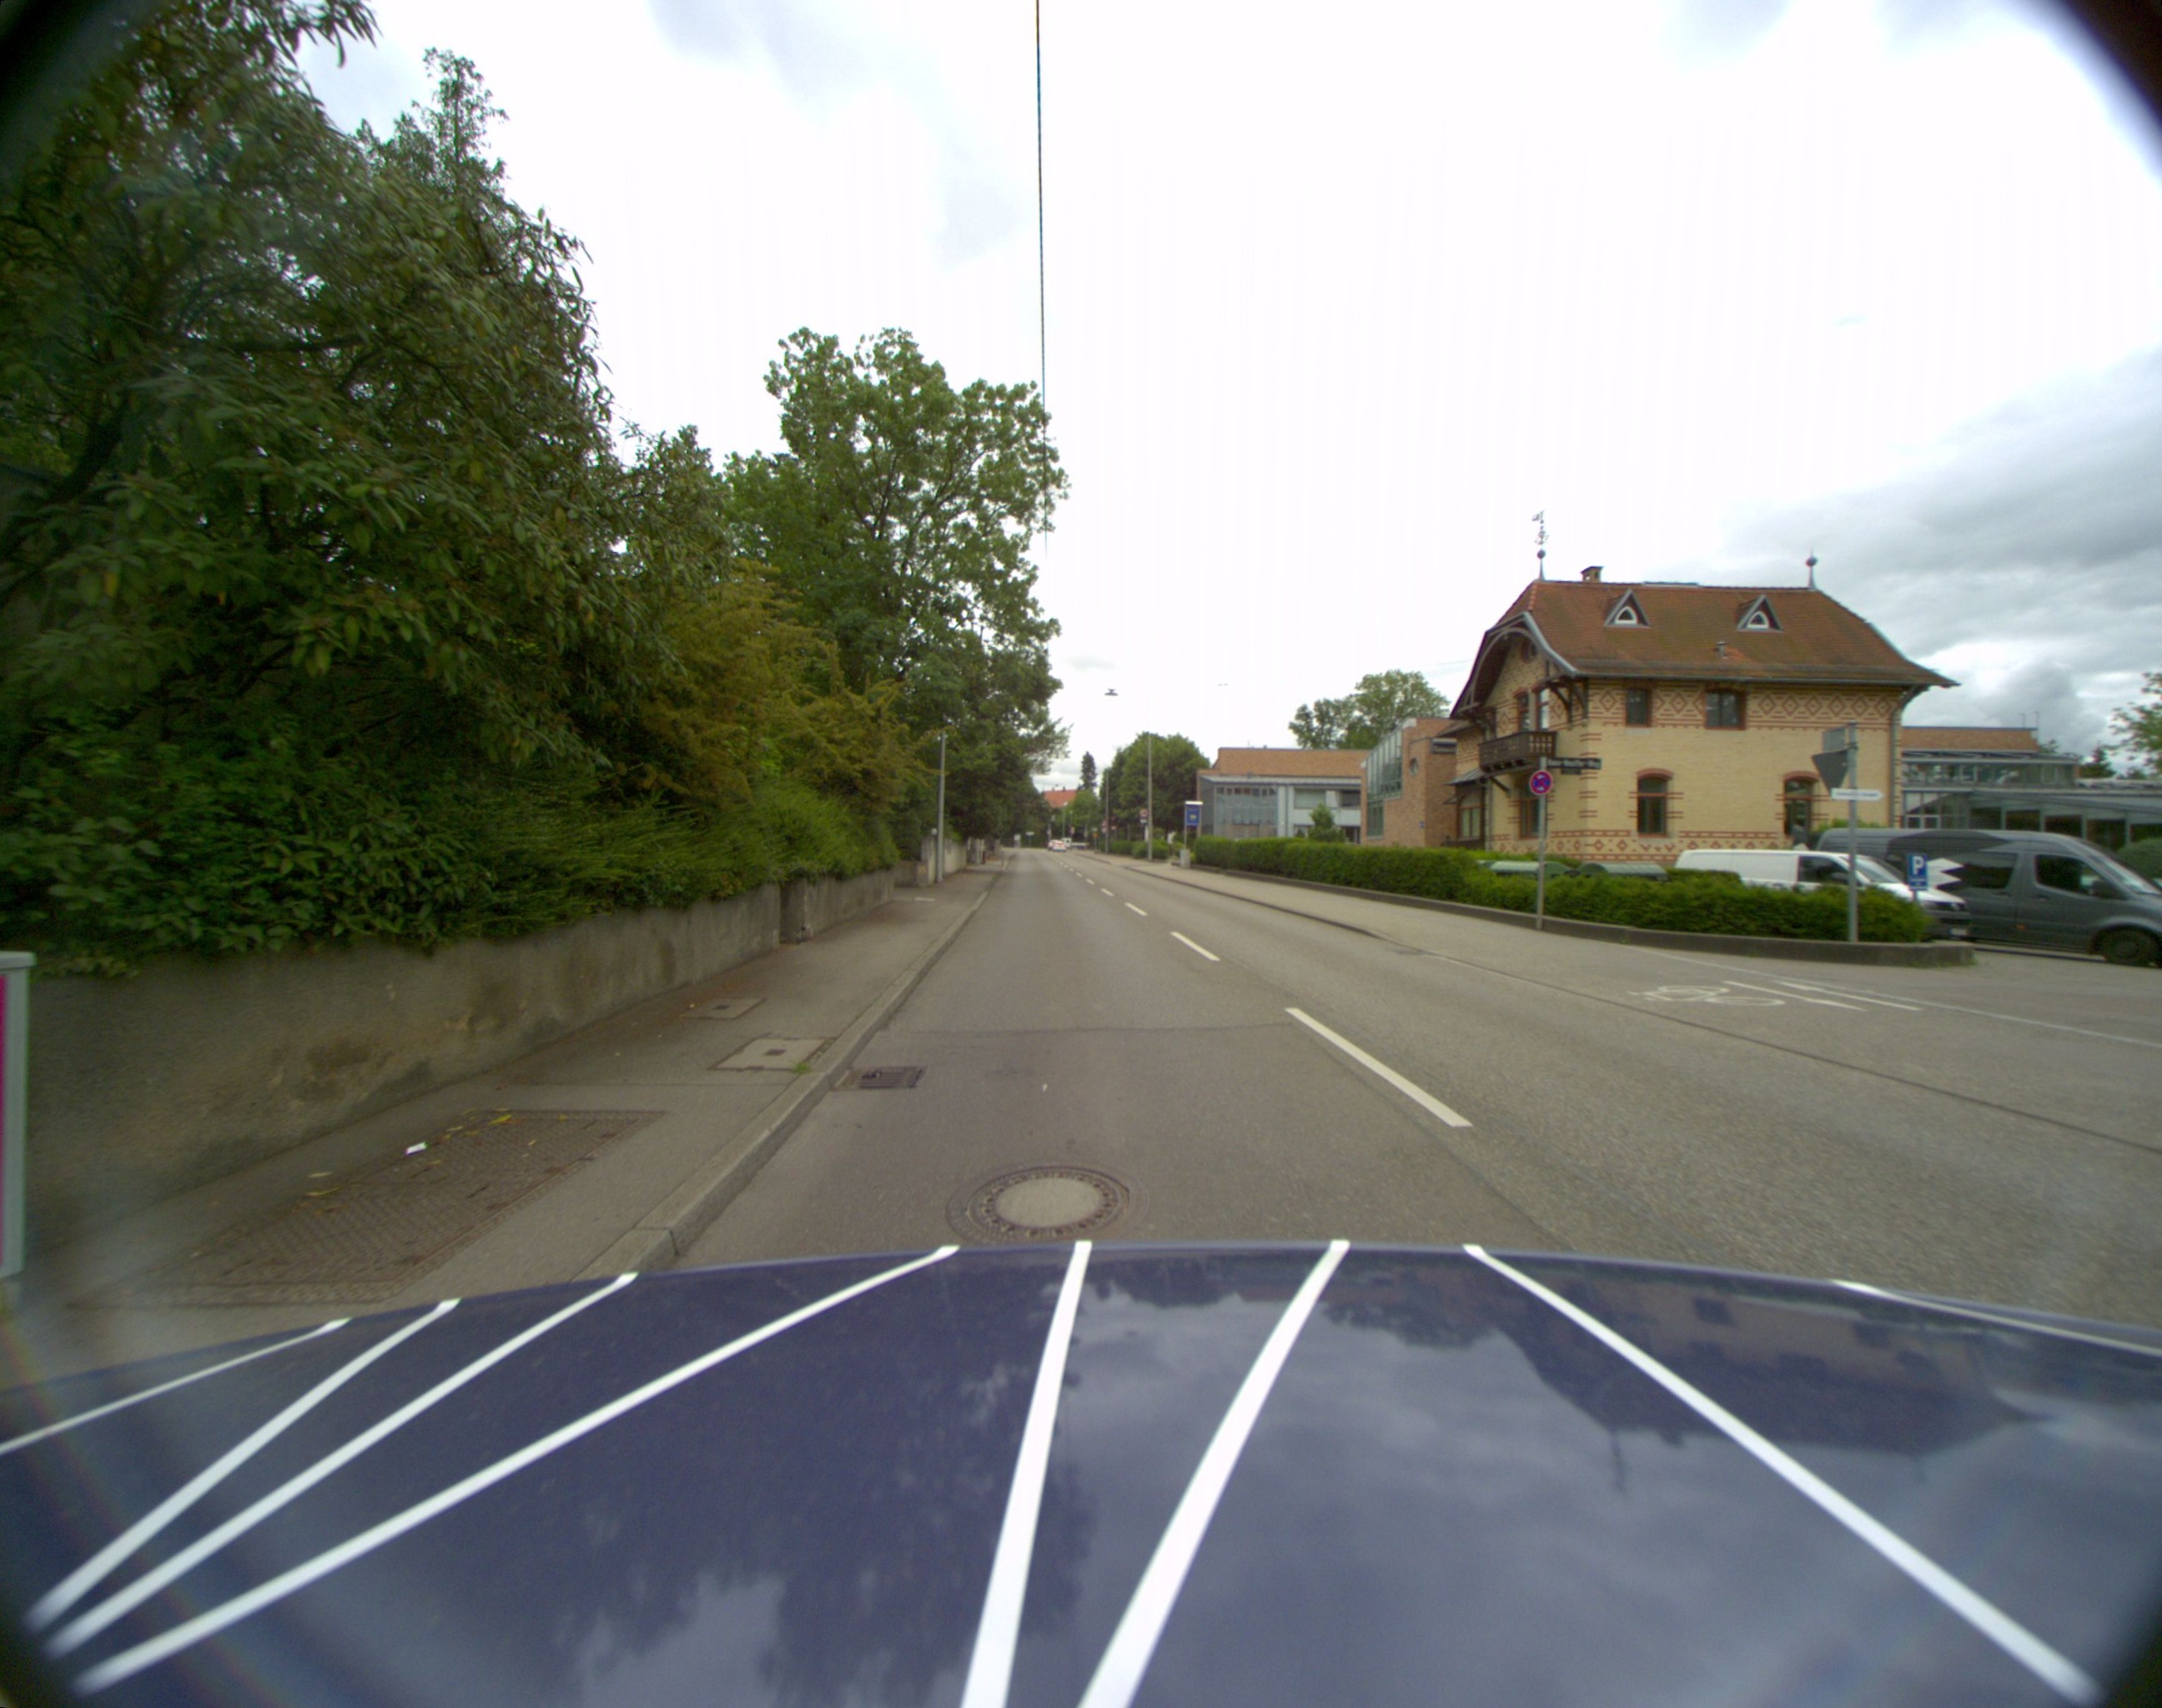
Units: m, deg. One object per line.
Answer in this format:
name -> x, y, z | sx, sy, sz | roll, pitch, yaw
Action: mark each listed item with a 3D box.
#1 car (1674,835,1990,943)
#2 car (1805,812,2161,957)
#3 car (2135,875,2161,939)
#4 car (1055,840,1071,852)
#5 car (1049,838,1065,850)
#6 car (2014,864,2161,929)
car -> 16.198, 0.628, 16.823 | 1.896, 2.058, 4.609 | 1, 1, -14
car -> 19.589, 0.502, 16.162 | 2.002, 2.604, 5.710 | 0, 1, -20
car -> 31.490, 1.529, 20.112 | 1.677, 1.760, 3.795 | 1, 1, -14
car -> -2.592, -1.112, 107.705 | 1.999, 1.701, 3.998 | 1, 1, -4
car -> -3.621, -1.501, 114.434 | 2.000, 1.702, 3.996 | 1, 1, -9
car -> 26.310, 1.050, 18.719 | 1.677, 1.468, 3.795 | 1, 1, -14
